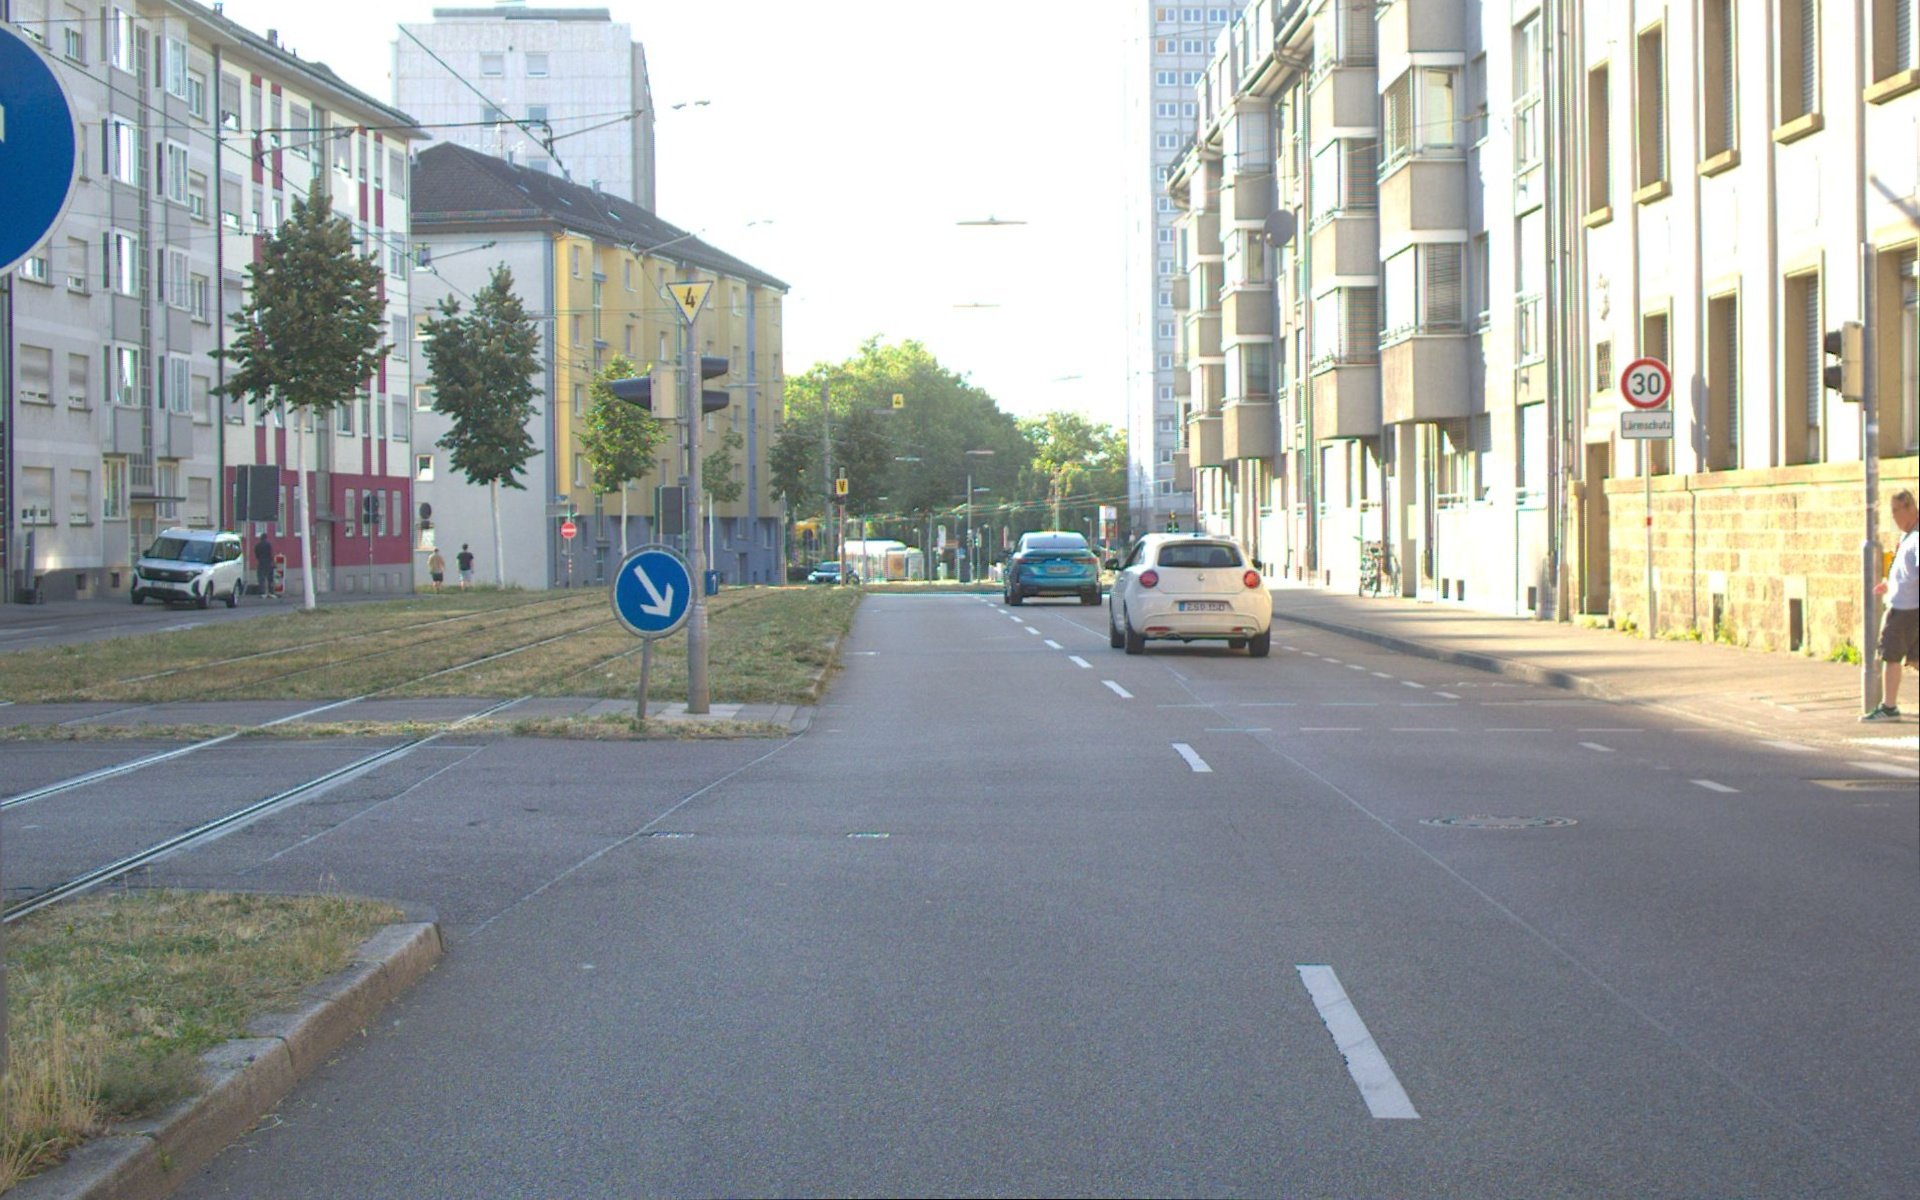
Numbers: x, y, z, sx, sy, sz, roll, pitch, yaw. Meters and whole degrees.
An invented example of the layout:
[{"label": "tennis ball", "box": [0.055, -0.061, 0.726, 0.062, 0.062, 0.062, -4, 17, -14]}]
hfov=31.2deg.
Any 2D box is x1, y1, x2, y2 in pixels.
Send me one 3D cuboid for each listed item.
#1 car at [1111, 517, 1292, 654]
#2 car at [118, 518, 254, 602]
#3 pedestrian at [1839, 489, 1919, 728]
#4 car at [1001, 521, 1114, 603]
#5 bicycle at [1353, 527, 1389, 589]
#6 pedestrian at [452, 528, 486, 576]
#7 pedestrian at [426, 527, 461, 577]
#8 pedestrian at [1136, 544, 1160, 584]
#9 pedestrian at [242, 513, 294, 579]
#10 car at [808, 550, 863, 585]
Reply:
[{"label": "car", "box": [2.868, -0.187, 41.594, 1.993, 1.558, 4.000, 1, 1, 2]}, {"label": "car", "box": [-18.333, -0.940, 81.626, 1.994, 1.918, 4.541, 1, 1, 3]}, {"label": "pedestrian", "box": [7.110, 0.062, 25.705, 0.835, 1.756, 0.824, 1, 0, -1]}, {"label": "car", "box": [1.901, -0.752, 68.178, 1.993, 1.549, 4.394, 1, 1, -1]}, {"label": "bicycle", "box": [7.388, -0.753, 61.857, 0.383, 1.092, 1.504, -1, 1, -3]}, {"label": "pedestrian", "box": [-17.032, -1.658, 119.213, 0.962, 1.664, 1.011, 1, 0, 5]}, {"label": "pedestrian", "box": [-17.816, -1.662, 118.531, 0.962, 1.688, 1.011, 1, 0, 5]}, {"label": "pedestrian", "box": [5.882, -1.127, 107.355, 0.691, 1.230, 0.736, 1, 0, 0]}, {"label": "pedestrian", "box": [-18.914, -1.476, 94.004, 1.269, 1.755, 1.274, 1, 0, -6]}, {"label": "car", "box": [-6.148, -1.606, 169.929, 1.898, 1.628, 4.746, -1, 1, 8]}]
